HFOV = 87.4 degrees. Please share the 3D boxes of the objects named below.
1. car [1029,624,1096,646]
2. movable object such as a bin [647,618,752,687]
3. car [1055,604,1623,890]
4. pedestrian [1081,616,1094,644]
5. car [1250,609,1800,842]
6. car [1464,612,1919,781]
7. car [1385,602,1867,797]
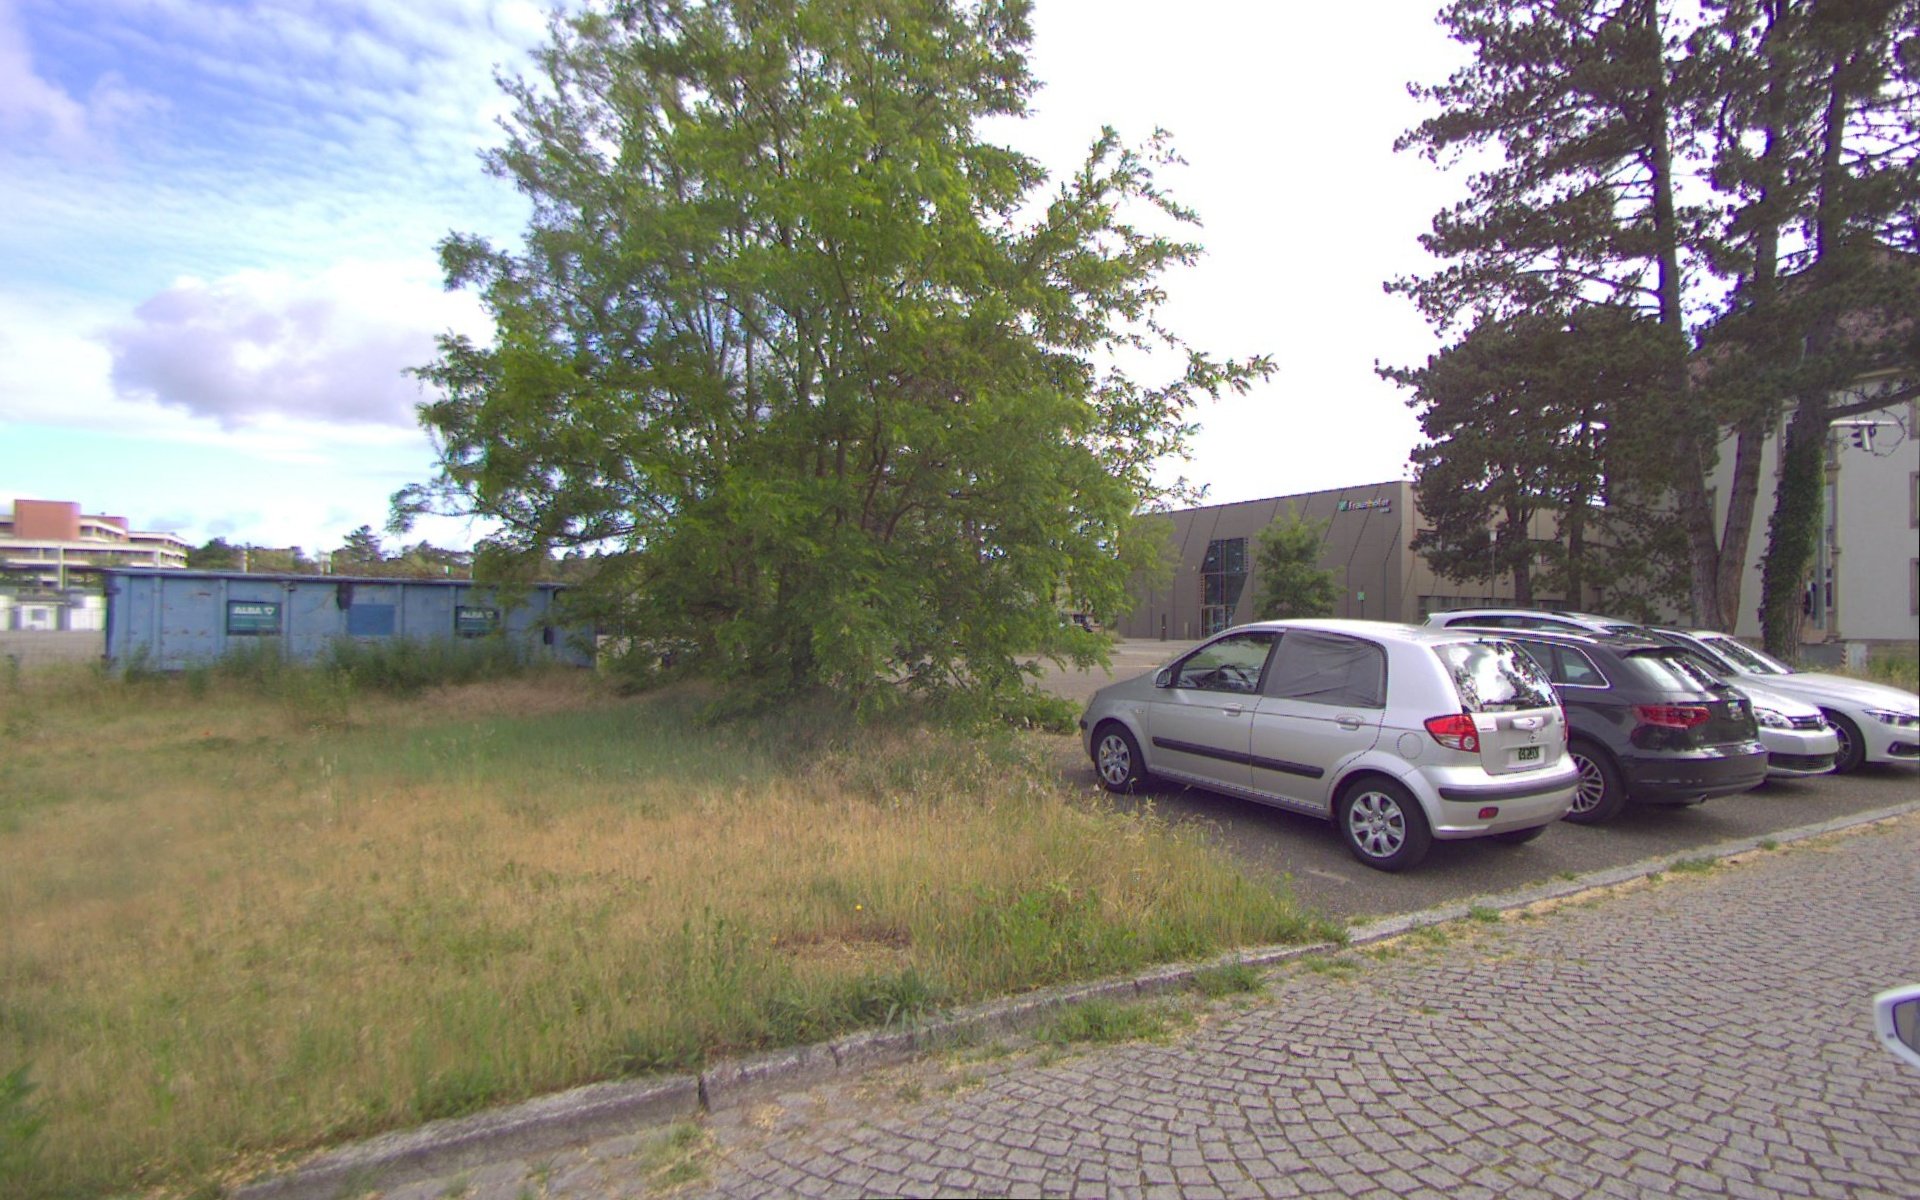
[{"bbox_3d":[7.287,2.458,71.428,4.405,1.449,1.985,-1,0,-29],"label":"car"},{"bbox_3d":[-4.846,0.931,18.549,1.480,1.176,2.385,1,-1,-25],"label":"movable object such as a bin"},{"bbox_3d":[2.585,0.839,7.620,1.790,1.472,3.654,1,1,-34],"label":"car"},{"bbox_3d":[9.425,2.202,74.302,0.883,2.040,0.922,0,-1,12],"label":"pedestrian"},{"bbox_3d":[4.739,0.893,9.043,1.731,1.447,3.966,1,1,-31],"label":"car"},{"bbox_3d":[8.855,0.979,12.181,1.783,1.463,4.619,1,1,-33],"label":"car"},{"bbox_3d":[6.897,0.884,10.831,1.707,1.568,3.961,1,1,-34],"label":"car"}]
